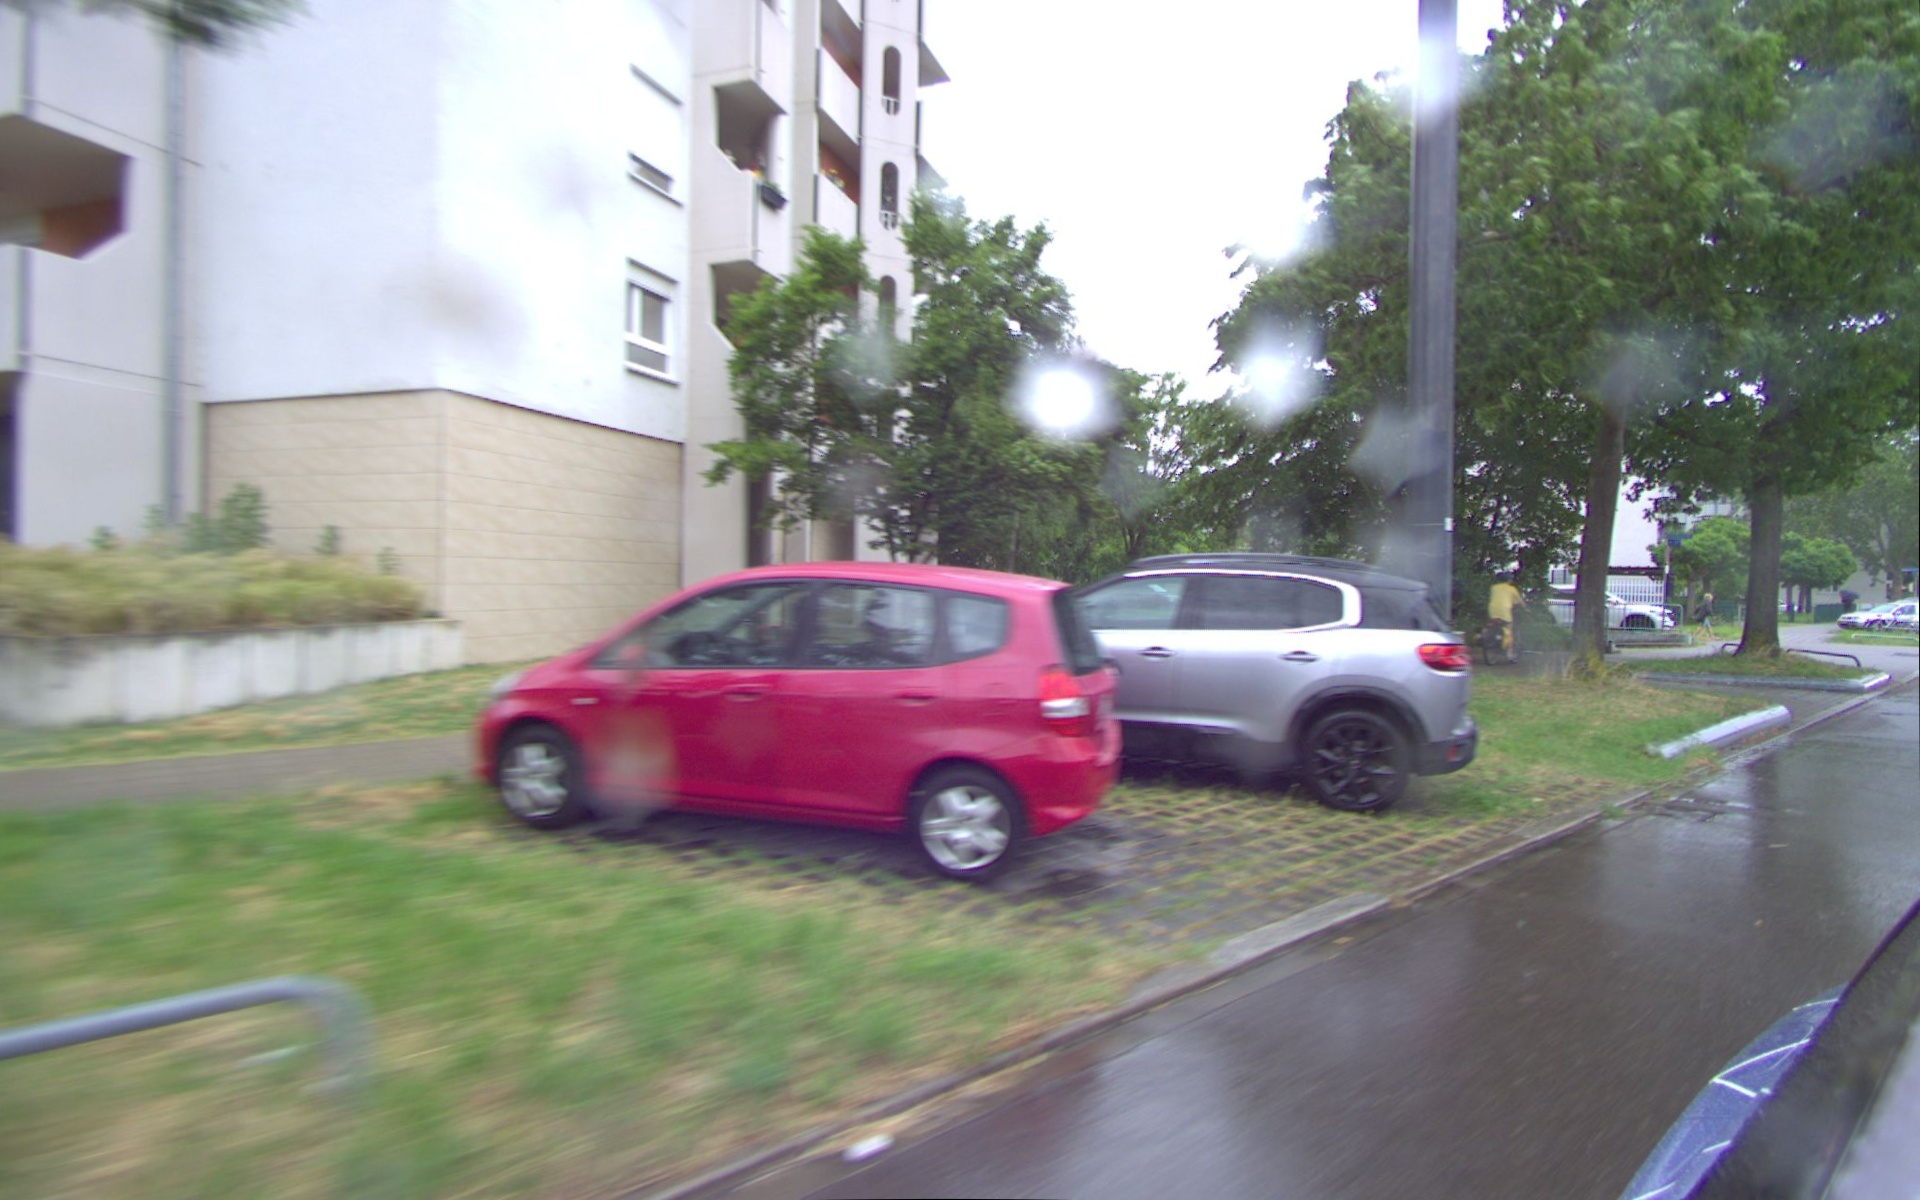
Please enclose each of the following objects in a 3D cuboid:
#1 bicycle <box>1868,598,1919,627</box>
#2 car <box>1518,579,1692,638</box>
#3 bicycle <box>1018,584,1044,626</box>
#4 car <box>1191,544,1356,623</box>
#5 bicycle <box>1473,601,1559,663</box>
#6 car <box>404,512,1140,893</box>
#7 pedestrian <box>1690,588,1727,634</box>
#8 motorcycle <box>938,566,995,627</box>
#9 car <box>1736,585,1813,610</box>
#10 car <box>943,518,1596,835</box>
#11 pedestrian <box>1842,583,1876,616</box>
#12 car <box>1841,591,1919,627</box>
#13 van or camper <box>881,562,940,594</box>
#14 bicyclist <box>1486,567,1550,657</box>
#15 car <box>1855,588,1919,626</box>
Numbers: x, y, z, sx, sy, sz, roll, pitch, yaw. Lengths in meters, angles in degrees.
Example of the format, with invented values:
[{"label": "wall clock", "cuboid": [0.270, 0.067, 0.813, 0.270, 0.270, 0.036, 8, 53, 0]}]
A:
[{"label": "bicycle", "cuboid": [39.241, 0.525, 42.301, 1.921, 1.115, 0.629, 2, 1, 3]}, {"label": "car", "cuboid": [21.540, 0.240, 33.968, 4.786, 1.767, 1.976, 2, 1, 34]}, {"label": "bicycle", "cuboid": [1.699, 0.113, 24.034, 0.402, 0.937, 1.461, 2, 2, 11]}, {"label": "car", "cuboid": [12.620, -0.725, 40.977, 6.034, 3.000, 2.105, 2, 1, 34]}, {"label": "bicycle", "cuboid": [10.383, 0.572, 18.861, 2.015, 1.069, 0.736, 0, 2, -41]}, {"label": "car", "cuboid": [-0.967, 0.411, 5.922, 3.829, 1.586, 1.726, 4, 2, 13]}, {"label": "pedestrian", "cuboid": [26.475, 0.376, 35.812, 0.829, 1.590, 0.809, 1, 1, 19]}, {"label": "motorcycle", "cuboid": [0.177, -0.104, 23.183, 0.871, 1.304, 2.295, 2, 2, 11]}, {"label": "car", "cuboid": [62.640, -0.216, 77.897, 1.838, 1.701, 4.302, 0, 3, -40]}, {"label": "car", "cuboid": [2.152, 0.396, 7.751, 4.094, 1.740, 1.989, 4, 2, 18]}, {"label": "pedestrian", "cuboid": [51.984, -0.028, 58.509, 1.405, 1.836, 1.104, 0, 1, -32]}, {"label": "car", "cuboid": [41.628, 0.426, 44.385, 4.062, 1.440, 1.732, 3, 2, 12]}, {"label": "van or camper", "cuboid": [-2.837, -1.291, 59.290, 1.884, 1.793, 4.388, 1, 1, 21]}, {"label": "bicyclist", "cuboid": [10.416, 0.212, 18.884, 0.928, 1.613, 0.736, 0, 2, -41]}, {"label": "car", "cuboid": [44.370, 0.360, 46.578, 4.288, 1.671, 1.849, 2, 1, 16]}]
